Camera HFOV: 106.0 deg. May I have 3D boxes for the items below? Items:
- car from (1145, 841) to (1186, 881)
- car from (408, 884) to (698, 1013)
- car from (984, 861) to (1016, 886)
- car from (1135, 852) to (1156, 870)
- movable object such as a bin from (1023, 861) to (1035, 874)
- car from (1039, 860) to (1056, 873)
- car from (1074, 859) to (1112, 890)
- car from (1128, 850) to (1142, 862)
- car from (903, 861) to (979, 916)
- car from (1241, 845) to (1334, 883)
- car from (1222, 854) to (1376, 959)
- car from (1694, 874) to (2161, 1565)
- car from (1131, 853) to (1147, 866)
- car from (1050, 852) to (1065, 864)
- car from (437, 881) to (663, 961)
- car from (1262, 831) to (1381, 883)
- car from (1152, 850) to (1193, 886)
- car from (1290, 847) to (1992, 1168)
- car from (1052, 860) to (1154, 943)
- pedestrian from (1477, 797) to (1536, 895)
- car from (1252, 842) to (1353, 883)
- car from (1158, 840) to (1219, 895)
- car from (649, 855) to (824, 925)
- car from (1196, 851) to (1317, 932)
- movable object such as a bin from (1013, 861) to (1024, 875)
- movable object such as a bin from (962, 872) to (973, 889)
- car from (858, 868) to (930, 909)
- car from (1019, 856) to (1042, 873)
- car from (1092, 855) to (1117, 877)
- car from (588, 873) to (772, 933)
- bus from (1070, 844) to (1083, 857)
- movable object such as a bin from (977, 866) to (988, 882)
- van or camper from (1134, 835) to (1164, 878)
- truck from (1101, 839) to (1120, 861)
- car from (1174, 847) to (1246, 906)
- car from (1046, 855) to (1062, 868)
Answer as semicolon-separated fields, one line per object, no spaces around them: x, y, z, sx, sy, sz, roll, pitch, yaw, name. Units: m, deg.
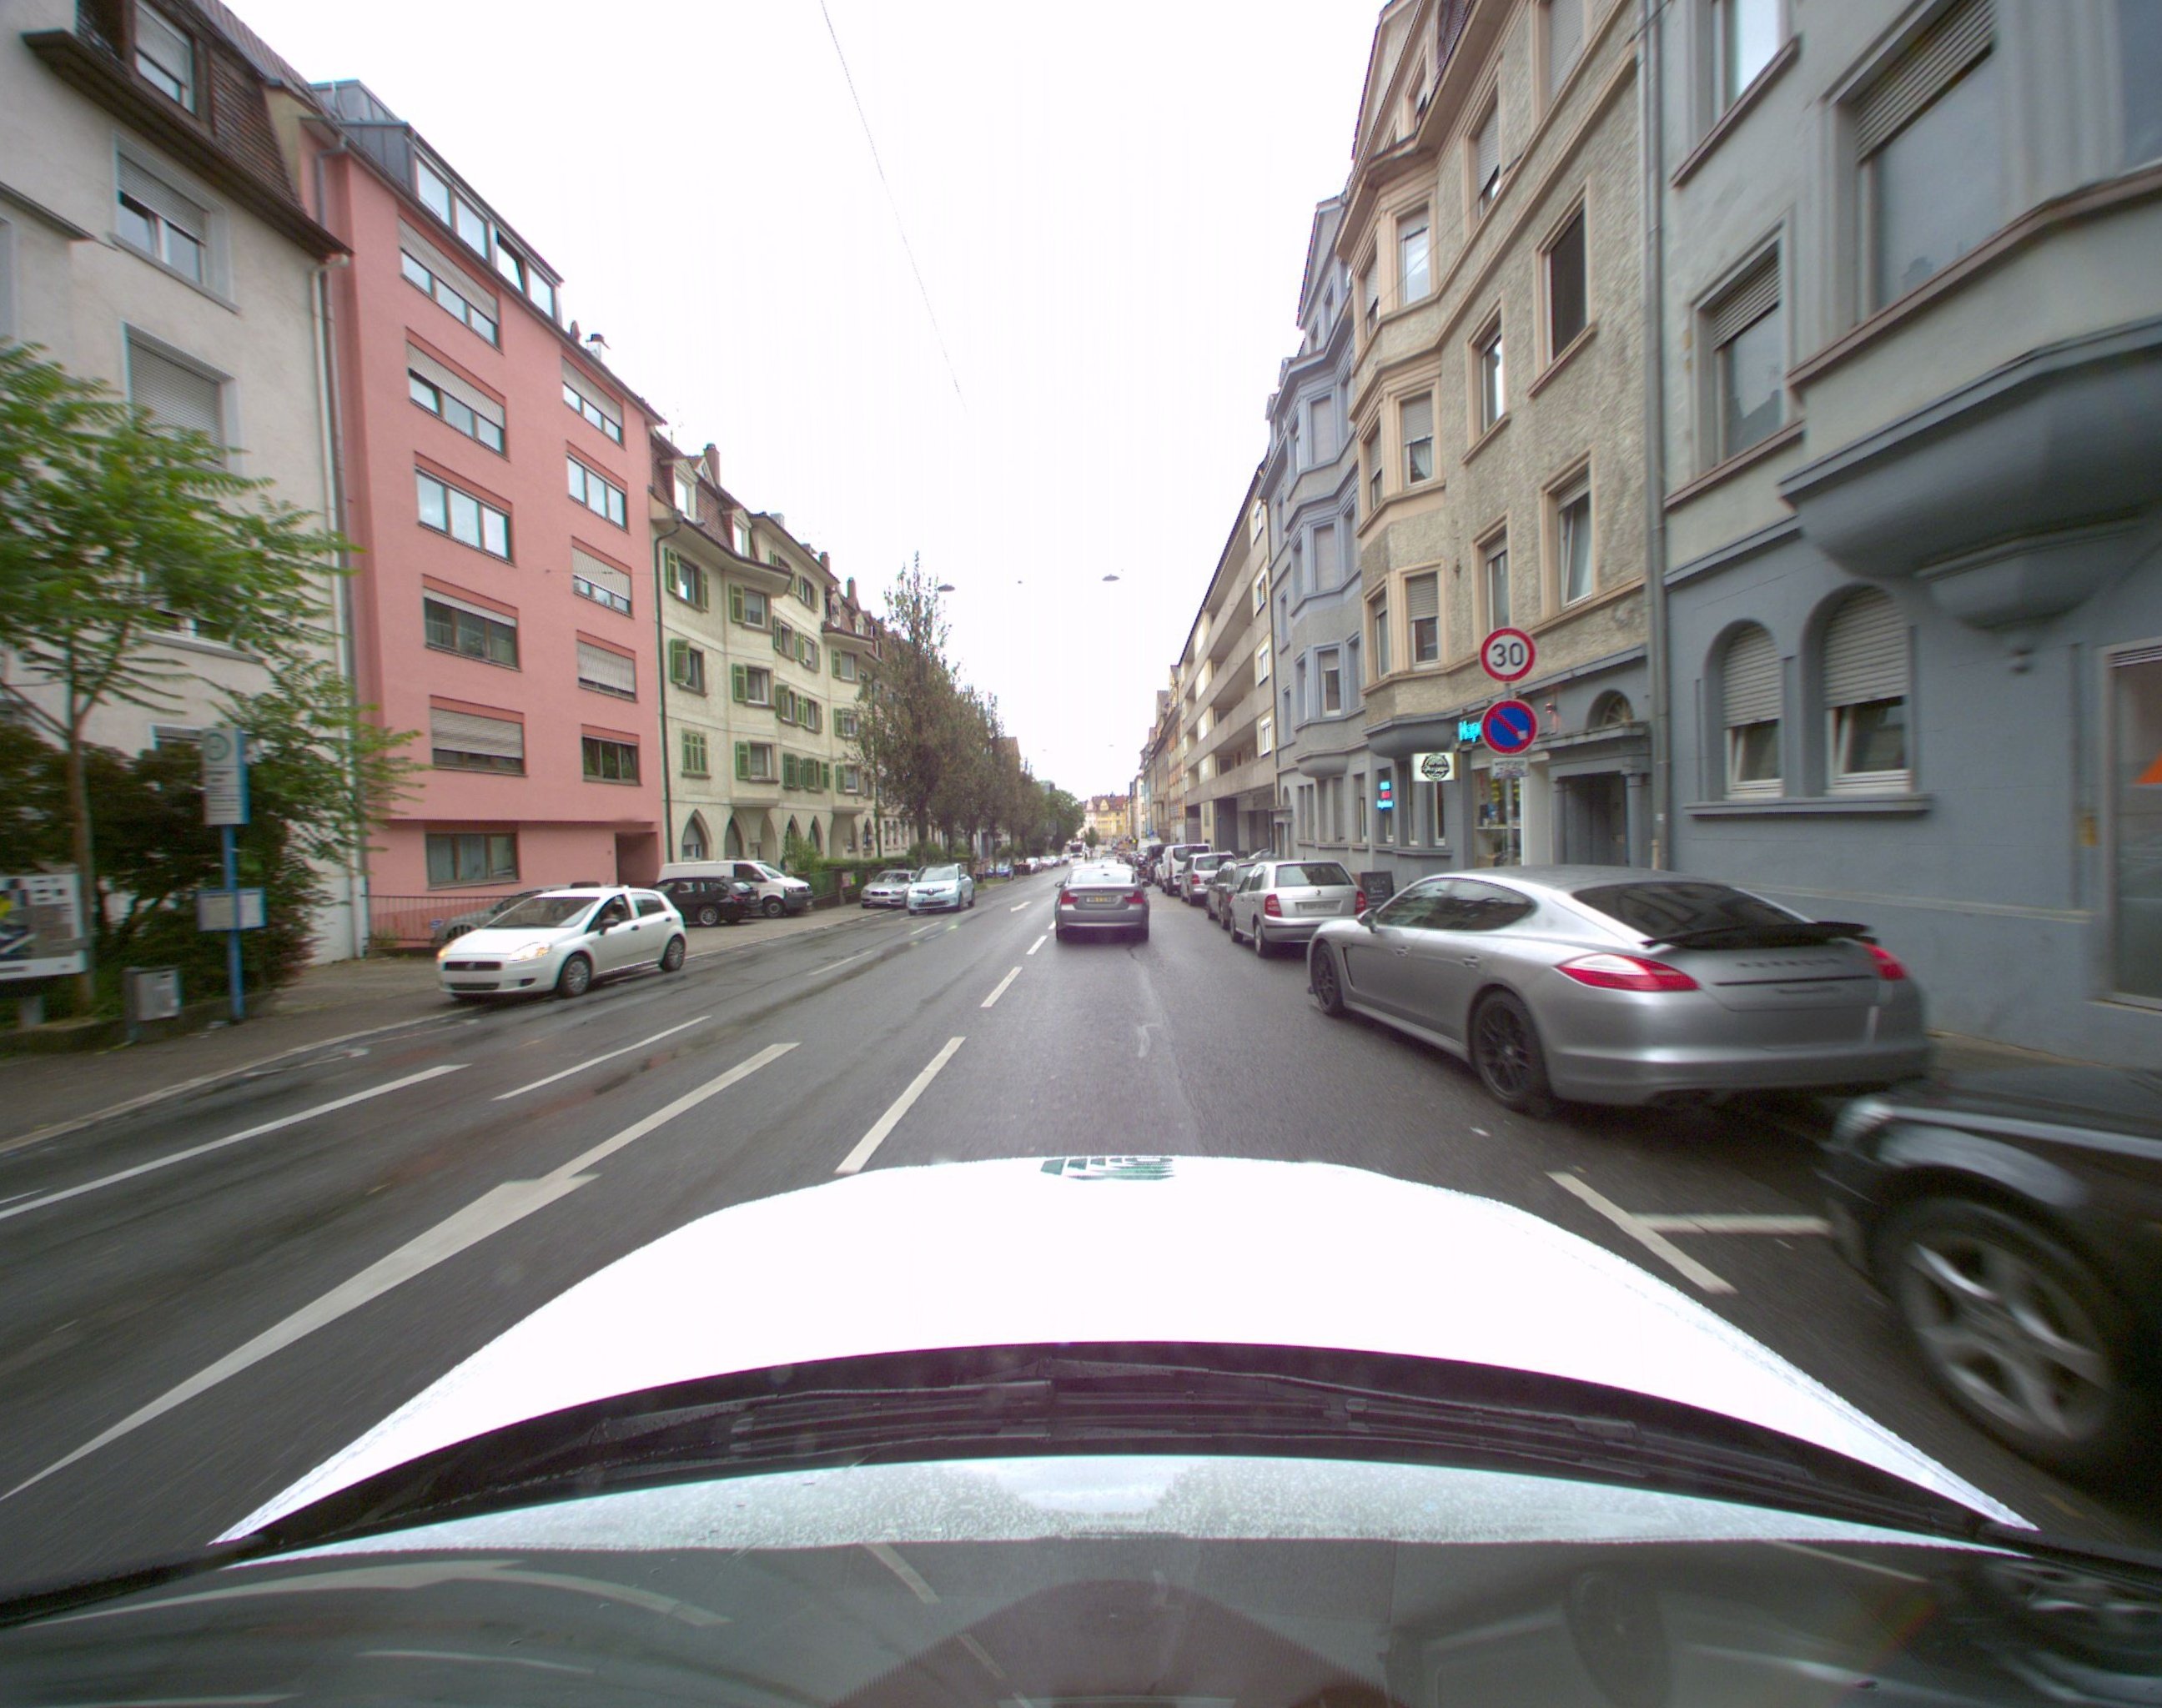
4.955;0.401;48.358;1.974;2.166;4.752;-3;0;2;car
-7.702;1.282;12.424;1.614;1.445;4.008;-2;0;3;car
-5.987;1.420;60.617;1.760;1.593;4.000;-4;0;1;car
5.740;0.627;72.863;1.691;1.483;3.976;-1;-1;1;car
-4.752;1.253;74.560;0.931;1.168;0.910;-2;0;2;movable object such as a bin
-4.179;1.551;102.500;1.684;1.523;3.739;-4;0;3;car
0.634;0.955;39.167;1.675;1.428;3.744;-1;0;3;car
7.065;0.294;106.762;1.691;1.483;3.976;-1;-1;1;car
-4.513;1.063;26.781;1.630;1.508;3.756;-5;0;2;car
10.115;0.471;40.007;4.255;1.640;1.673;-2;1;14;car
3.436;0.748;13.566;1.605;1.474;4.017;-1;0;2;car
3.045;0.776;0.858;1.671;1.375;4.278;-1;0;2;car
6.835;0.638;96.942;1.691;1.483;3.976;-1;-1;1;car
-3.207;0.552;113.619;1.684;1.523;3.739;-4;0;3;car
-12.039;1.493;18.707;3.876;1.457;1.788;-3;0;-6;car
9.488;0.101;32.091;4.289;1.804;2.017;-2;2;19;car
4.633;0.690;41.788;1.719;1.670;4.290;-3;0;2;car
3.312;0.729;6.255;1.872;1.467;4.767;-1;0;-4;car
0.463;0.845;16.109;1.762;1.428;3.743;-1;-1;2;car
7.254;-0.133;13.888;0.486;1.620;0.661;-3;-1;-28;pedestrian
9.916;0.376;36.599;4.255;1.640;1.673;-2;1;14;car
4.367;0.508;33.683;1.974;2.007;4.627;-3;0;2;car
-11.295;1.158;26.975;4.811;1.974;2.049;-3;0;1;car
3.902;0.766;18.919;1.892;1.478;4.802;-5;0;3;car
-5.710;1.278;74.582;0.898;1.168;0.895;-2;0;2;movable object such as a bin
-6.723;1.569;48.196;0.575;0.912;0.637;-3;0;-12;movable object such as a bin
-7.256;1.292;32.055;1.719;1.484;3.992;0;-1;3;car
-5.074;1.083;82.217;1.820;1.523;3.739;-4;0;3;car
1.603;0.823;55.964;1.691;1.483;3.794;-1;-1;1;car
-11.707;1.405;23.994;4.418;1.451;1.791;-3;0;-1;car
-0.994;-0.808;189.796;2.658;3.024;7.674;-3;0;2;bus
-5.839;1.204;48.326;0.575;0.912;0.637;-3;0;-12;movable object such as a bin
4.997;0.152;58.979;2.023;2.868;6.896;1;0;6;van or camper
3.281;-0.413;91.878;2.024;2.412;4.828;-1;-1;1;truck
4.180;0.674;26.937;1.719;1.670;4.290;-4;0;2;car
-3.592;0.985;109.604;1.684;1.523;3.739;-4;0;3;car
